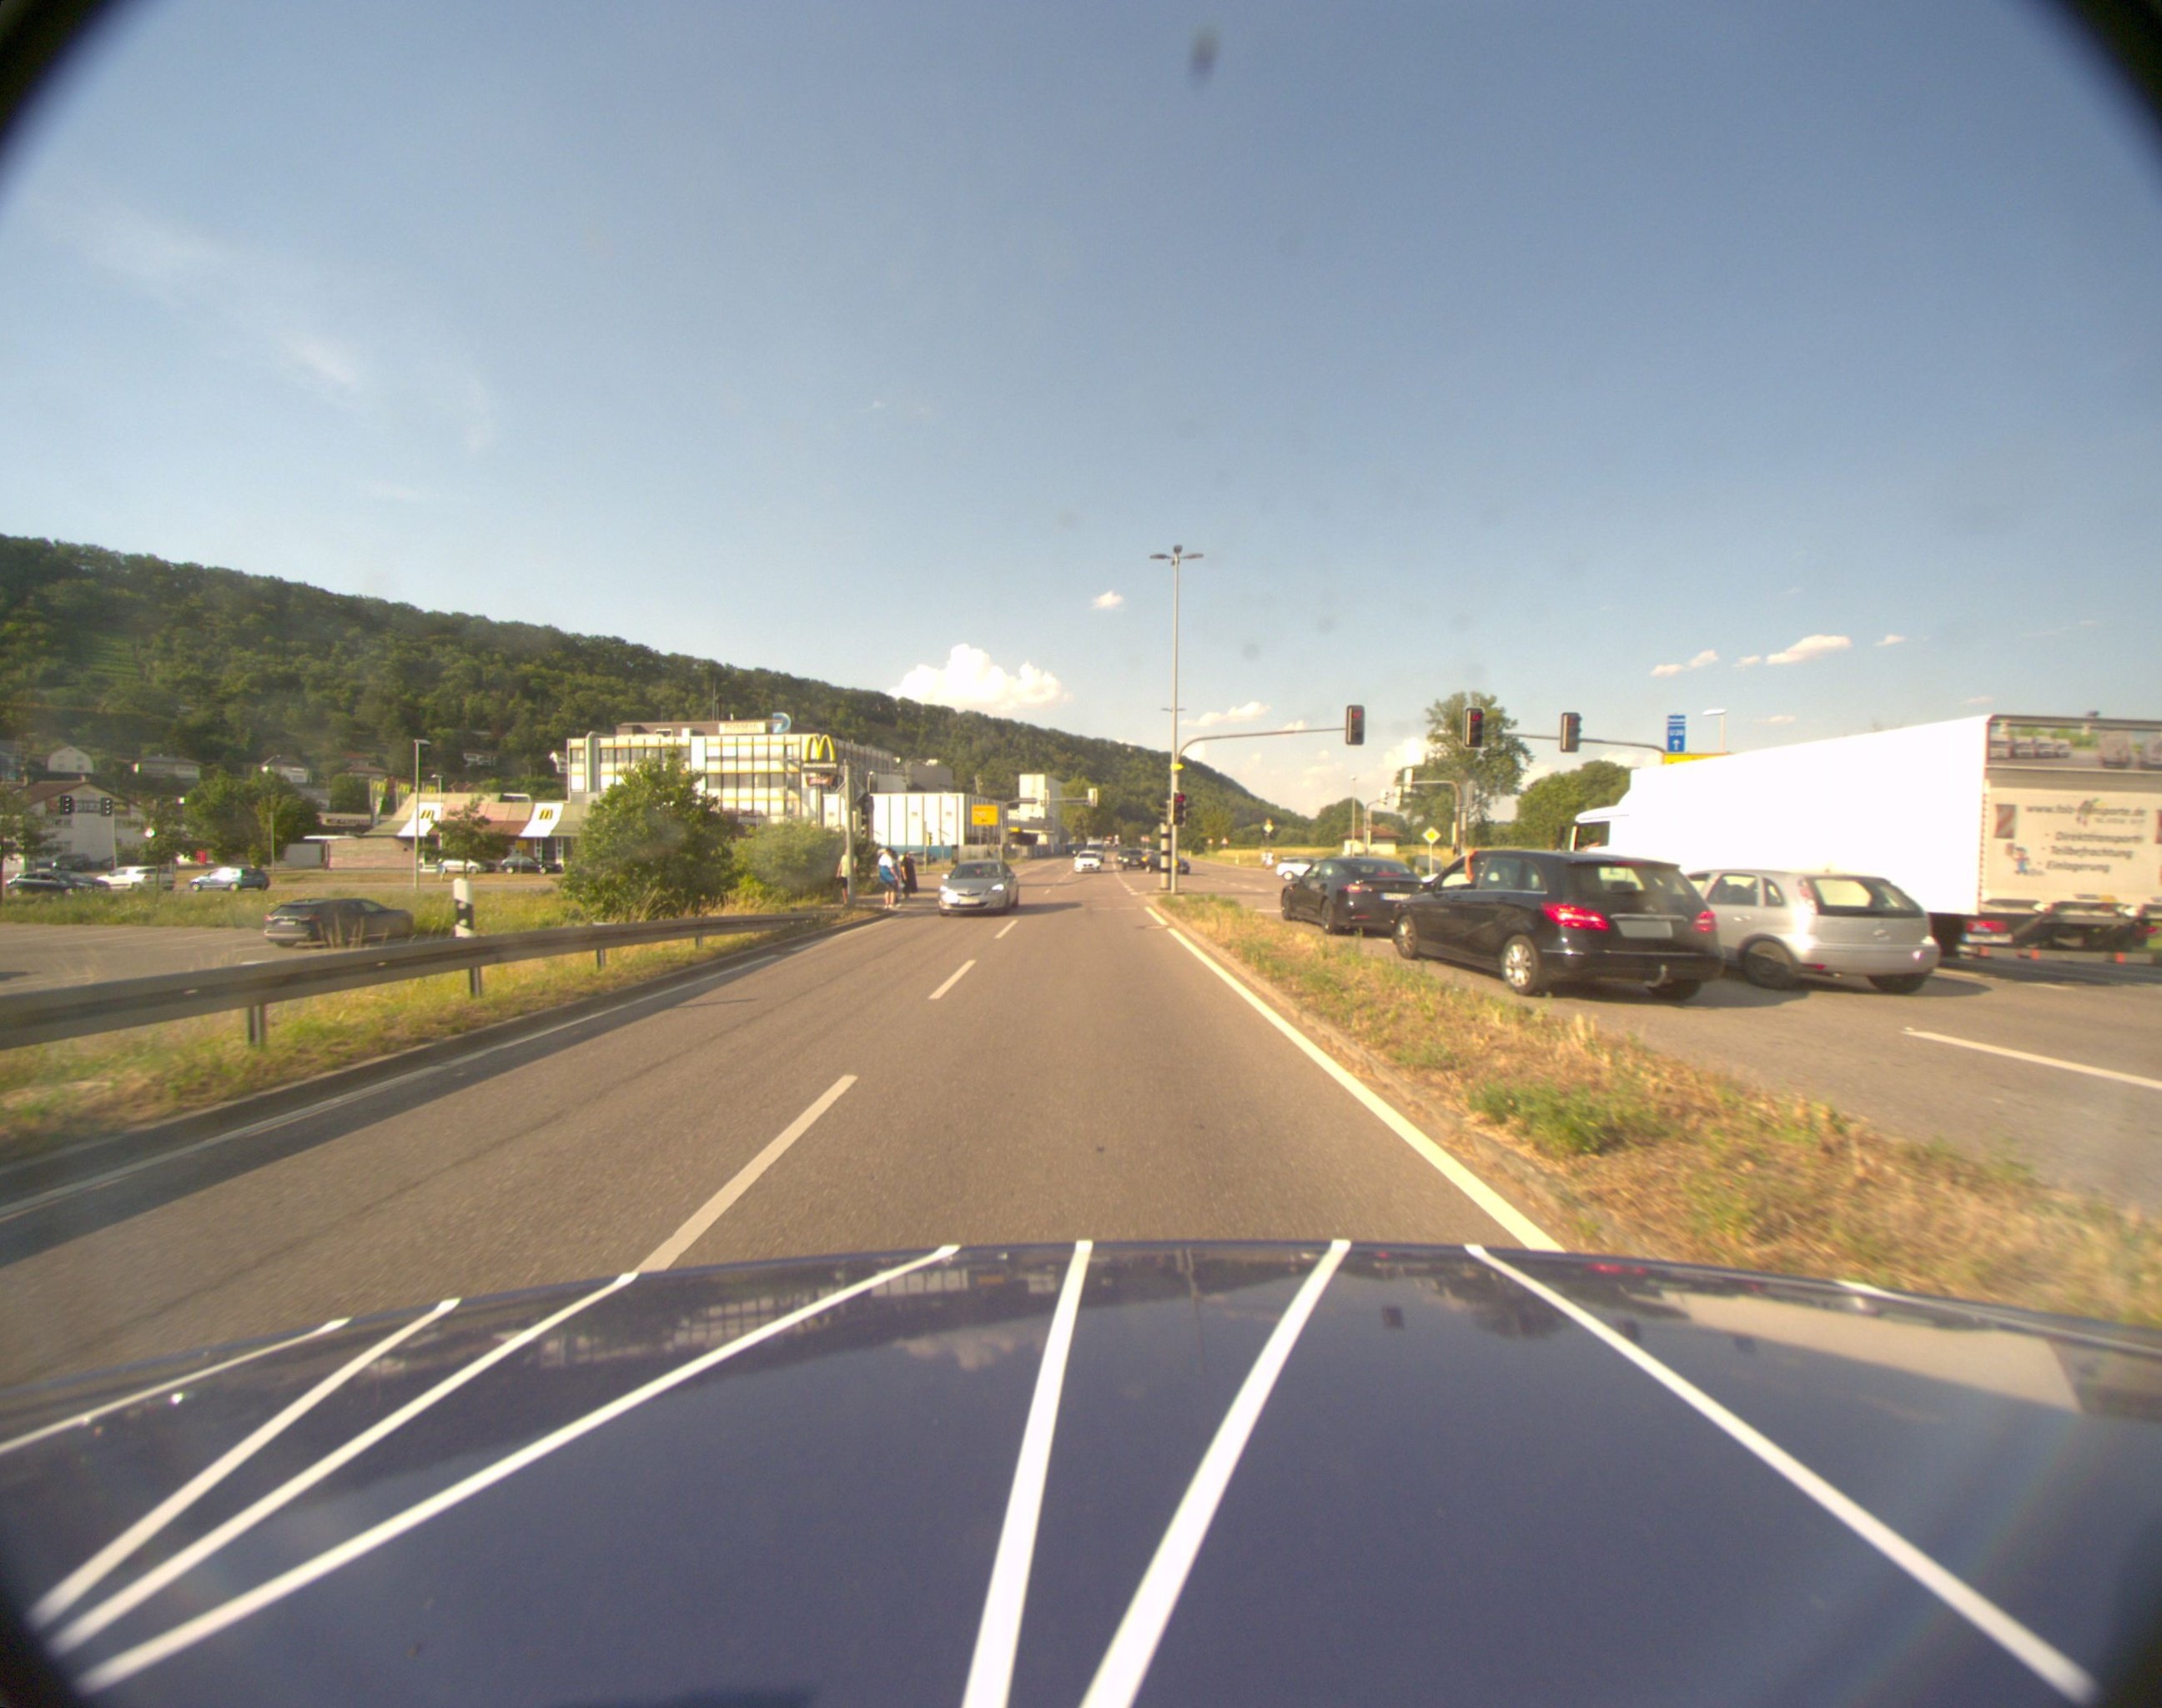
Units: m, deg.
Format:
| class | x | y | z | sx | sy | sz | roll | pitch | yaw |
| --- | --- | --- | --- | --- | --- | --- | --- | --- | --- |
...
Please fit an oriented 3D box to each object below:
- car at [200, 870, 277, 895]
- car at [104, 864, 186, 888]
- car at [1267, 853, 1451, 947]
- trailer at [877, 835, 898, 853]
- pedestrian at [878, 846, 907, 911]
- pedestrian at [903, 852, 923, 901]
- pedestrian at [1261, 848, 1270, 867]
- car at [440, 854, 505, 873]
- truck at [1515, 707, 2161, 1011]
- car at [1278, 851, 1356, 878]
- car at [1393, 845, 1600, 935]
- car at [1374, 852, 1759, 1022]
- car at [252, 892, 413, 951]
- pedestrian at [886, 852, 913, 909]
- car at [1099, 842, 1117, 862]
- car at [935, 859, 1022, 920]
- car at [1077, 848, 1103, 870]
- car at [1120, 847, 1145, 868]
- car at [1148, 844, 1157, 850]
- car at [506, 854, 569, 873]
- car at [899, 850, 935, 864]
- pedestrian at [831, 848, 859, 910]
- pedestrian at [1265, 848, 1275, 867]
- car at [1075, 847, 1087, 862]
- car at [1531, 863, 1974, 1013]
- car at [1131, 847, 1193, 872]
| class | x | y | z | sx | sy | sz | roll | pitch | yaw |
| --- | --- | --- | --- | --- | --- | --- | --- | --- | --- |
| car | -55.474 | 1.880 | 50.057 | 3.321 | 1.478 | 1.577 | -2 | 2 | 4 |
| car | -62.281 | 1.424 | 50.585 | 3.649 | 1.412 | 1.690 | -2 | 2 | 6 |
| car | 5.246 | 0.759 | 15.150 | 1.795 | 1.458 | 4.927 | 0 | 1 | -1 |
| trailer | -21.087 | -1.100 | 82.621 | 1.351 | 1.936 | 3.472 | 1 | 0 | -30 |
| pedestrian | -5.523 | 0.699 | 22.256 | 0.620 | 1.872 | 0.861 | 1 | 2 | 0 |
| pedestrian | -5.652 | 0.751 | 25.592 | 0.573 | 1.606 | 0.622 | 1 | 2 | -3 |
| pedestrian | 16.209 | 0.323 | 66.826 | 0.655 | 1.597 | 0.838 | -1 | 2 | 22 |
| car | -51.080 | 0.781 | 63.843 | 3.996 | 1.449 | 1.861 | 0 | 2 | 3 |
| truck | 12.744 | -0.057 | 14.575 | 2.940 | 3.669 | 10.497 | 2 | 2 | 2 |
| car | 13.784 | 0.626 | 44.413 | 4.179 | 1.468 | 1.765 | -1 | 1 | 23 |
| car | 8.993 | 0.667 | 17.046 | 1.998 | 1.669 | 4.805 | 1 | 1 | 0 |
| car | 5.307 | 0.781 | 9.219 | 1.785 | 1.529 | 4.572 | 1 | -1 | 1 |
| car | -26.909 | 2.361 | 27.531 | 1.837 | 1.693 | 4.128 | 1 | 1 | -3 |
| pedestrian | -5.505 | 0.786 | 23.069 | 0.596 | 1.673 | 0.633 | 2 | 2 | 0 |
| car | 2.993 | -0.227 | 85.913 | 1.795 | 2.155 | 4.588 | 0 | 1 | -1 |
| car | -2.696 | 0.890 | 20.761 | 1.690 | 1.383 | 3.883 | 0 | 2 | 2 |
| car | 0.697 | 0.347 | 58.243 | 1.825 | 1.552 | 3.999 | -2 | 1 | 2 |
| car | 4.192 | 0.230 | 62.262 | 1.858 | 1.565 | 4.144 | -2 | 1 | 2 |
| car | 16.142 | -1.606 | 171.823 | 1.712 | 1.426 | 4.144 | 1 | 2 | 2 |
| car | -45.467 | 0.770 | 63.629 | 3.996 | 1.449 | 1.861 | 0 | 2 | 3 |
| car | -19.542 | 0.354 | 90.702 | 1.872 | 1.496 | 3.914 | -1 | 2 | 37 |
| pedestrian | -6.841 | 0.719 | 22.057 | 0.532 | 1.740 | 0.537 | 3 | 2 | 6 |
| pedestrian | 16.328 | 0.339 | 65.727 | 0.655 | 1.597 | 0.891 | -1 | 2 | 22 |
| car | 0.006 | 0.059 | 121.883 | 1.795 | 2.155 | 4.588 | 0 | 1 | -1 |
| car | 8.680 | 0.935 | 10.671 | 1.706 | 1.397 | 5.080 | 1 | 1 | 0 |
| car | 5.422 | 0.371 | 51.028 | 1.621 | 1.565 | 3.988 | -3 | 2 | -43 |
